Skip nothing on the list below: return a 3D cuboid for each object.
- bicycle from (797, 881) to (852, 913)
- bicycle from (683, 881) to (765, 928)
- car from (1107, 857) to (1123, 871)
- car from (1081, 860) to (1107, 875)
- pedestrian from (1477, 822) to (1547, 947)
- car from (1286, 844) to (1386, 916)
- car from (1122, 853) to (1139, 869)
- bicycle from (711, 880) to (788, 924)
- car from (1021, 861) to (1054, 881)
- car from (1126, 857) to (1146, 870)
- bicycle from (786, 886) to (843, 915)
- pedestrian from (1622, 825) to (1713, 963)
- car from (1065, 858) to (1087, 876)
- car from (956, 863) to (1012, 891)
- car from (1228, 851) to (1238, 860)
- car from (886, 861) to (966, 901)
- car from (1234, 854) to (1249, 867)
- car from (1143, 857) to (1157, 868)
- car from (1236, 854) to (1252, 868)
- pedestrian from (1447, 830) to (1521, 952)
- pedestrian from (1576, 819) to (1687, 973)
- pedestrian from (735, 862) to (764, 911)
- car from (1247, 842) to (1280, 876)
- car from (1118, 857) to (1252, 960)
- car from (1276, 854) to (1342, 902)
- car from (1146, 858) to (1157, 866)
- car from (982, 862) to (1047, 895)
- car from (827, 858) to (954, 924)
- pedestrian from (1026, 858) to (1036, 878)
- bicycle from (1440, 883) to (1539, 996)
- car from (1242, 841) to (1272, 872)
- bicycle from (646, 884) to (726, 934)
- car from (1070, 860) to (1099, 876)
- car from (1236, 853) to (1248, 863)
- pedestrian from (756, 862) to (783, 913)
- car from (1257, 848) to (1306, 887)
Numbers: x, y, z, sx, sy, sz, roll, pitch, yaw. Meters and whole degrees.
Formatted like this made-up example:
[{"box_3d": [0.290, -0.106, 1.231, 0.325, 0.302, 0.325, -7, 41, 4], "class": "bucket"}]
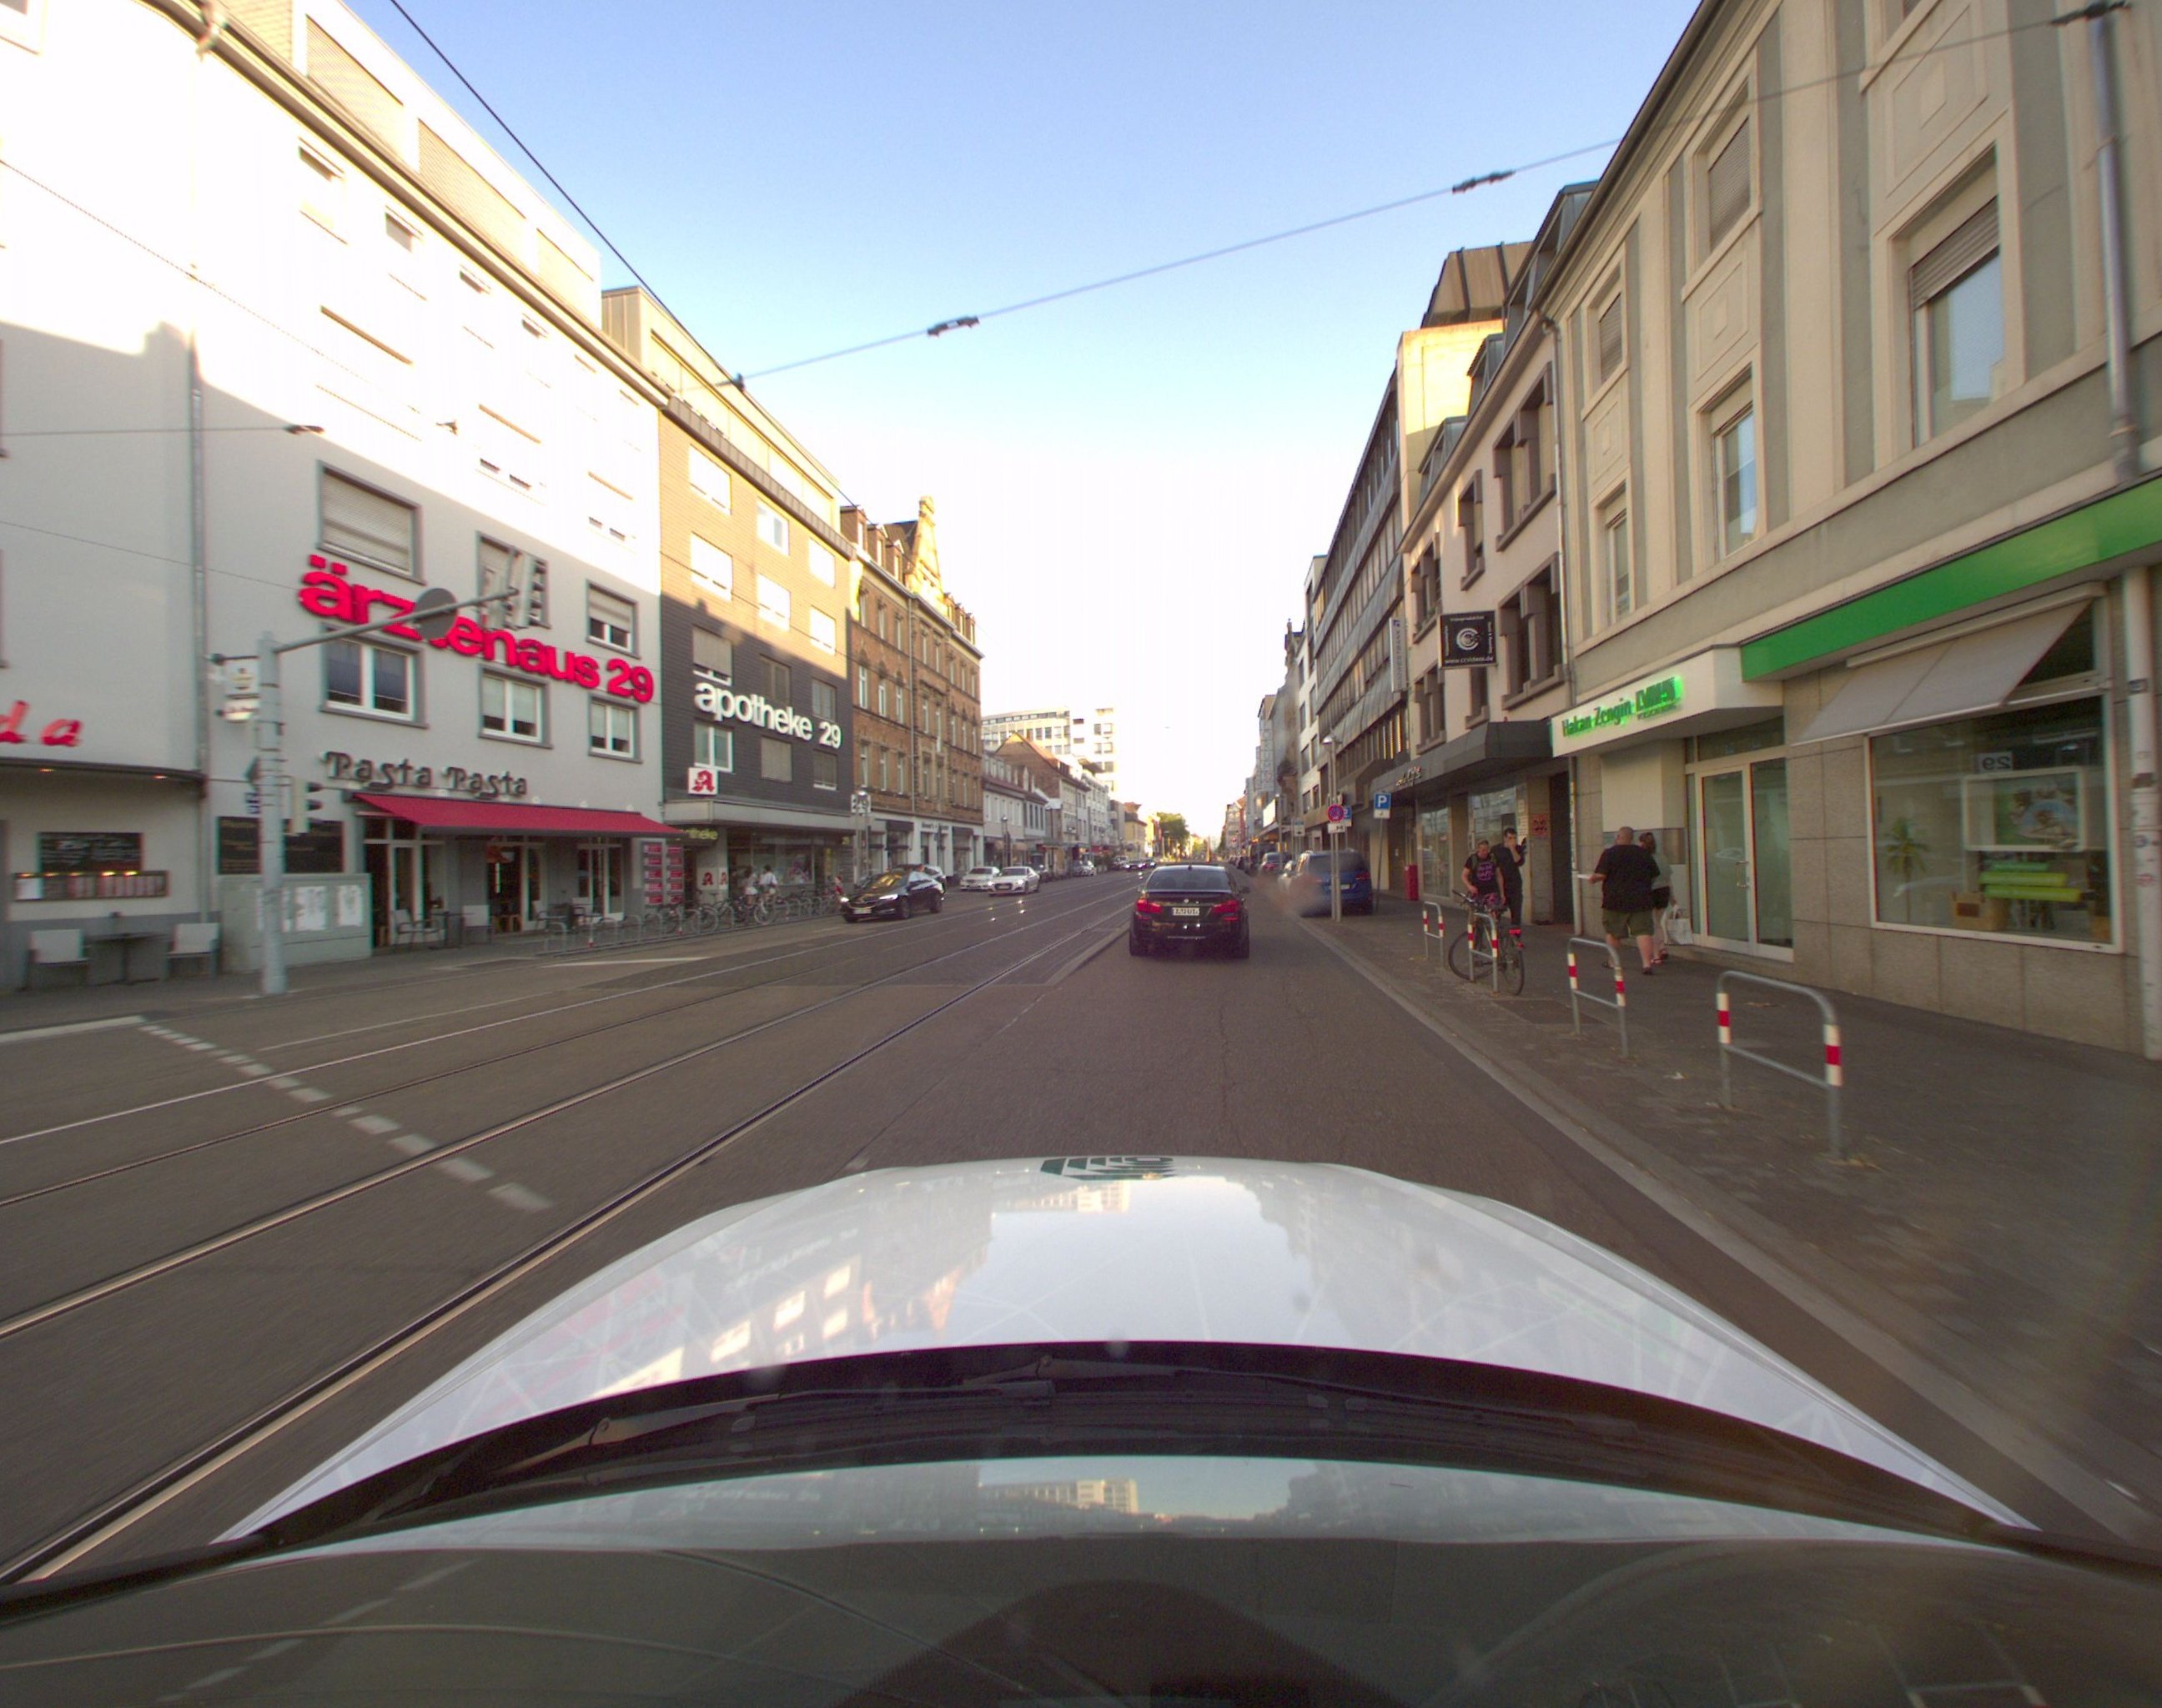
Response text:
[{"box_3d": [-8.928, 1.492, 28.351, 1.820, 1.047, 0.490, 1, 1, 9], "class": "bicycle"}, {"box_3d": [-9.950, 1.389, 22.702, 2.099, 1.224, 0.554, 1, 0, 9], "class": "bicycle"}, {"box_3d": [4.418, 1.268, 105.696, 1.857, 1.685, 4.006, -1, 0, 5], "class": "car"}, {"box_3d": [1.355, 1.342, 84.748, 1.981, 1.453, 4.342, -2, 0, 11], "class": "car"}, {"box_3d": [6.964, 0.482, 13.196, 0.657, 1.928, 0.881, -3, -1, 8], "class": "pedestrian"}, {"box_3d": [6.973, 0.663, 22.718, 1.981, 1.727, 4.589, -3, -1, 10], "class": "car"}, {"box_3d": [6.900, 0.968, 113.588, 1.983, 2.156, 4.920, -2, 0, 6], "class": "car"}, {"box_3d": [-9.772, 1.411, 24.029, 2.099, 1.224, 0.555, 1, 1, 9], "class": "bicycle"}, {"box_3d": [-3.207, 1.302, 60.767, 1.588, 1.440, 3.823, 0, -1, 10], "class": "car"}, {"box_3d": [6.558, 1.160, 96.468, 1.983, 1.453, 4.658, -2, 0, 7], "class": "car"}, {"box_3d": [-9.006, 1.574, 27.514, 1.794, 0.912, 0.457, 1, 1, 9], "class": "bicycle"}, {"box_3d": [7.651, 0.514, 10.652, 0.645, 1.718, 0.680, -4, -1, 10], "class": "pedestrian"}, {"box_3d": [-0.454, 1.217, 75.036, 1.468, 1.577, 2.802, -2, 0, 10], "class": "car"}, {"box_3d": [-5.528, 1.292, 47.127, 1.857, 1.453, 4.624, -2, 0, 11], "class": "car"}, {"box_3d": [28.238, 0.252, 151.196, 1.763, 1.549, 3.512, -1, -1, 10], "class": "car"}, {"box_3d": [-7.052, 1.177, 37.567, 1.917, 1.674, 4.661, 0, 0, 12], "class": "car"}, {"box_3d": [19.045, 0.778, 96.942, 1.550, 1.442, 3.718, -4, -1, 9], "class": "car"}, {"box_3d": [9.830, 1.159, 116.434, 1.682, 1.453, 4.476, -2, 0, 8], "class": "car"}, {"box_3d": [18.370, 0.777, 91.992, 1.645, 1.537, 3.896, -3, -1, 9], "class": "car"}, {"box_3d": [6.329, 0.561, 12.832, 0.733, 1.829, 0.852, -3, -1, 8], "class": "pedestrian"}, {"box_3d": [6.827, 0.508, 10.148, 0.761, 1.806, 0.931, -3, -1, 11], "class": "pedestrian"}, {"box_3d": [-11.366, 1.103, 27.915, 0.678, 1.661, 0.626, -1, 0, 9], "class": "pedestrian"}, {"box_3d": [14.111, 0.387, 63.303, 2.080, 2.455, 6.048, -3, -1, 9], "class": "car"}, {"box_3d": [1.956, 0.830, 14.143, 1.941, 1.498, 4.478, 0, -1, 11], "class": "car"}, {"box_3d": [7.892, 0.789, 28.519, 1.784, 1.433, 3.898, -3, 0, 10], "class": "car"}, {"box_3d": [14.070, 1.572, 162.581, 1.917, 1.435, 4.257, 0, 0, 10], "class": "car"}, {"box_3d": [-3.221, 1.158, 40.252, 1.981, 1.453, 4.670, -2, 0, 11], "class": "car"}, {"box_3d": [-5.748, 1.064, 25.300, 1.981, 1.727, 4.742, -3, -1, 11], "class": "car"}, {"box_3d": [-4.158, 1.120, 67.552, 0.658, 1.644, 0.696, -1, -1, 10], "class": "pedestrian"}, {"box_3d": [4.659, 0.934, 9.387, 0.530, 1.147, 1.494, -2, -1, 8], "class": "bicycle"}, {"box_3d": [15.027, 0.242, 69.872, 2.022, 2.455, 5.422, -3, -1, 8], "class": "car"}, {"box_3d": [-10.286, 1.424, 21.230, 1.879, 1.211, 0.554, 1, 0, 9], "class": "bicycle"}, {"box_3d": [0.364, 1.312, 79.549, 1.981, 1.453, 4.836, -2, 0, 11], "class": "car"}, {"box_3d": [25.603, 0.657, 129.614, 1.891, 1.549, 4.010, -1, -1, 10], "class": "car"}, {"box_3d": [-10.624, 1.147, 27.813, 0.616, 1.699, 0.604, -1, 0, 9], "class": "pedestrian"}, {"box_3d": [9.877, 0.651, 40.452, 1.981, 1.727, 4.578, -3, -1, 10], "class": "car"}]
